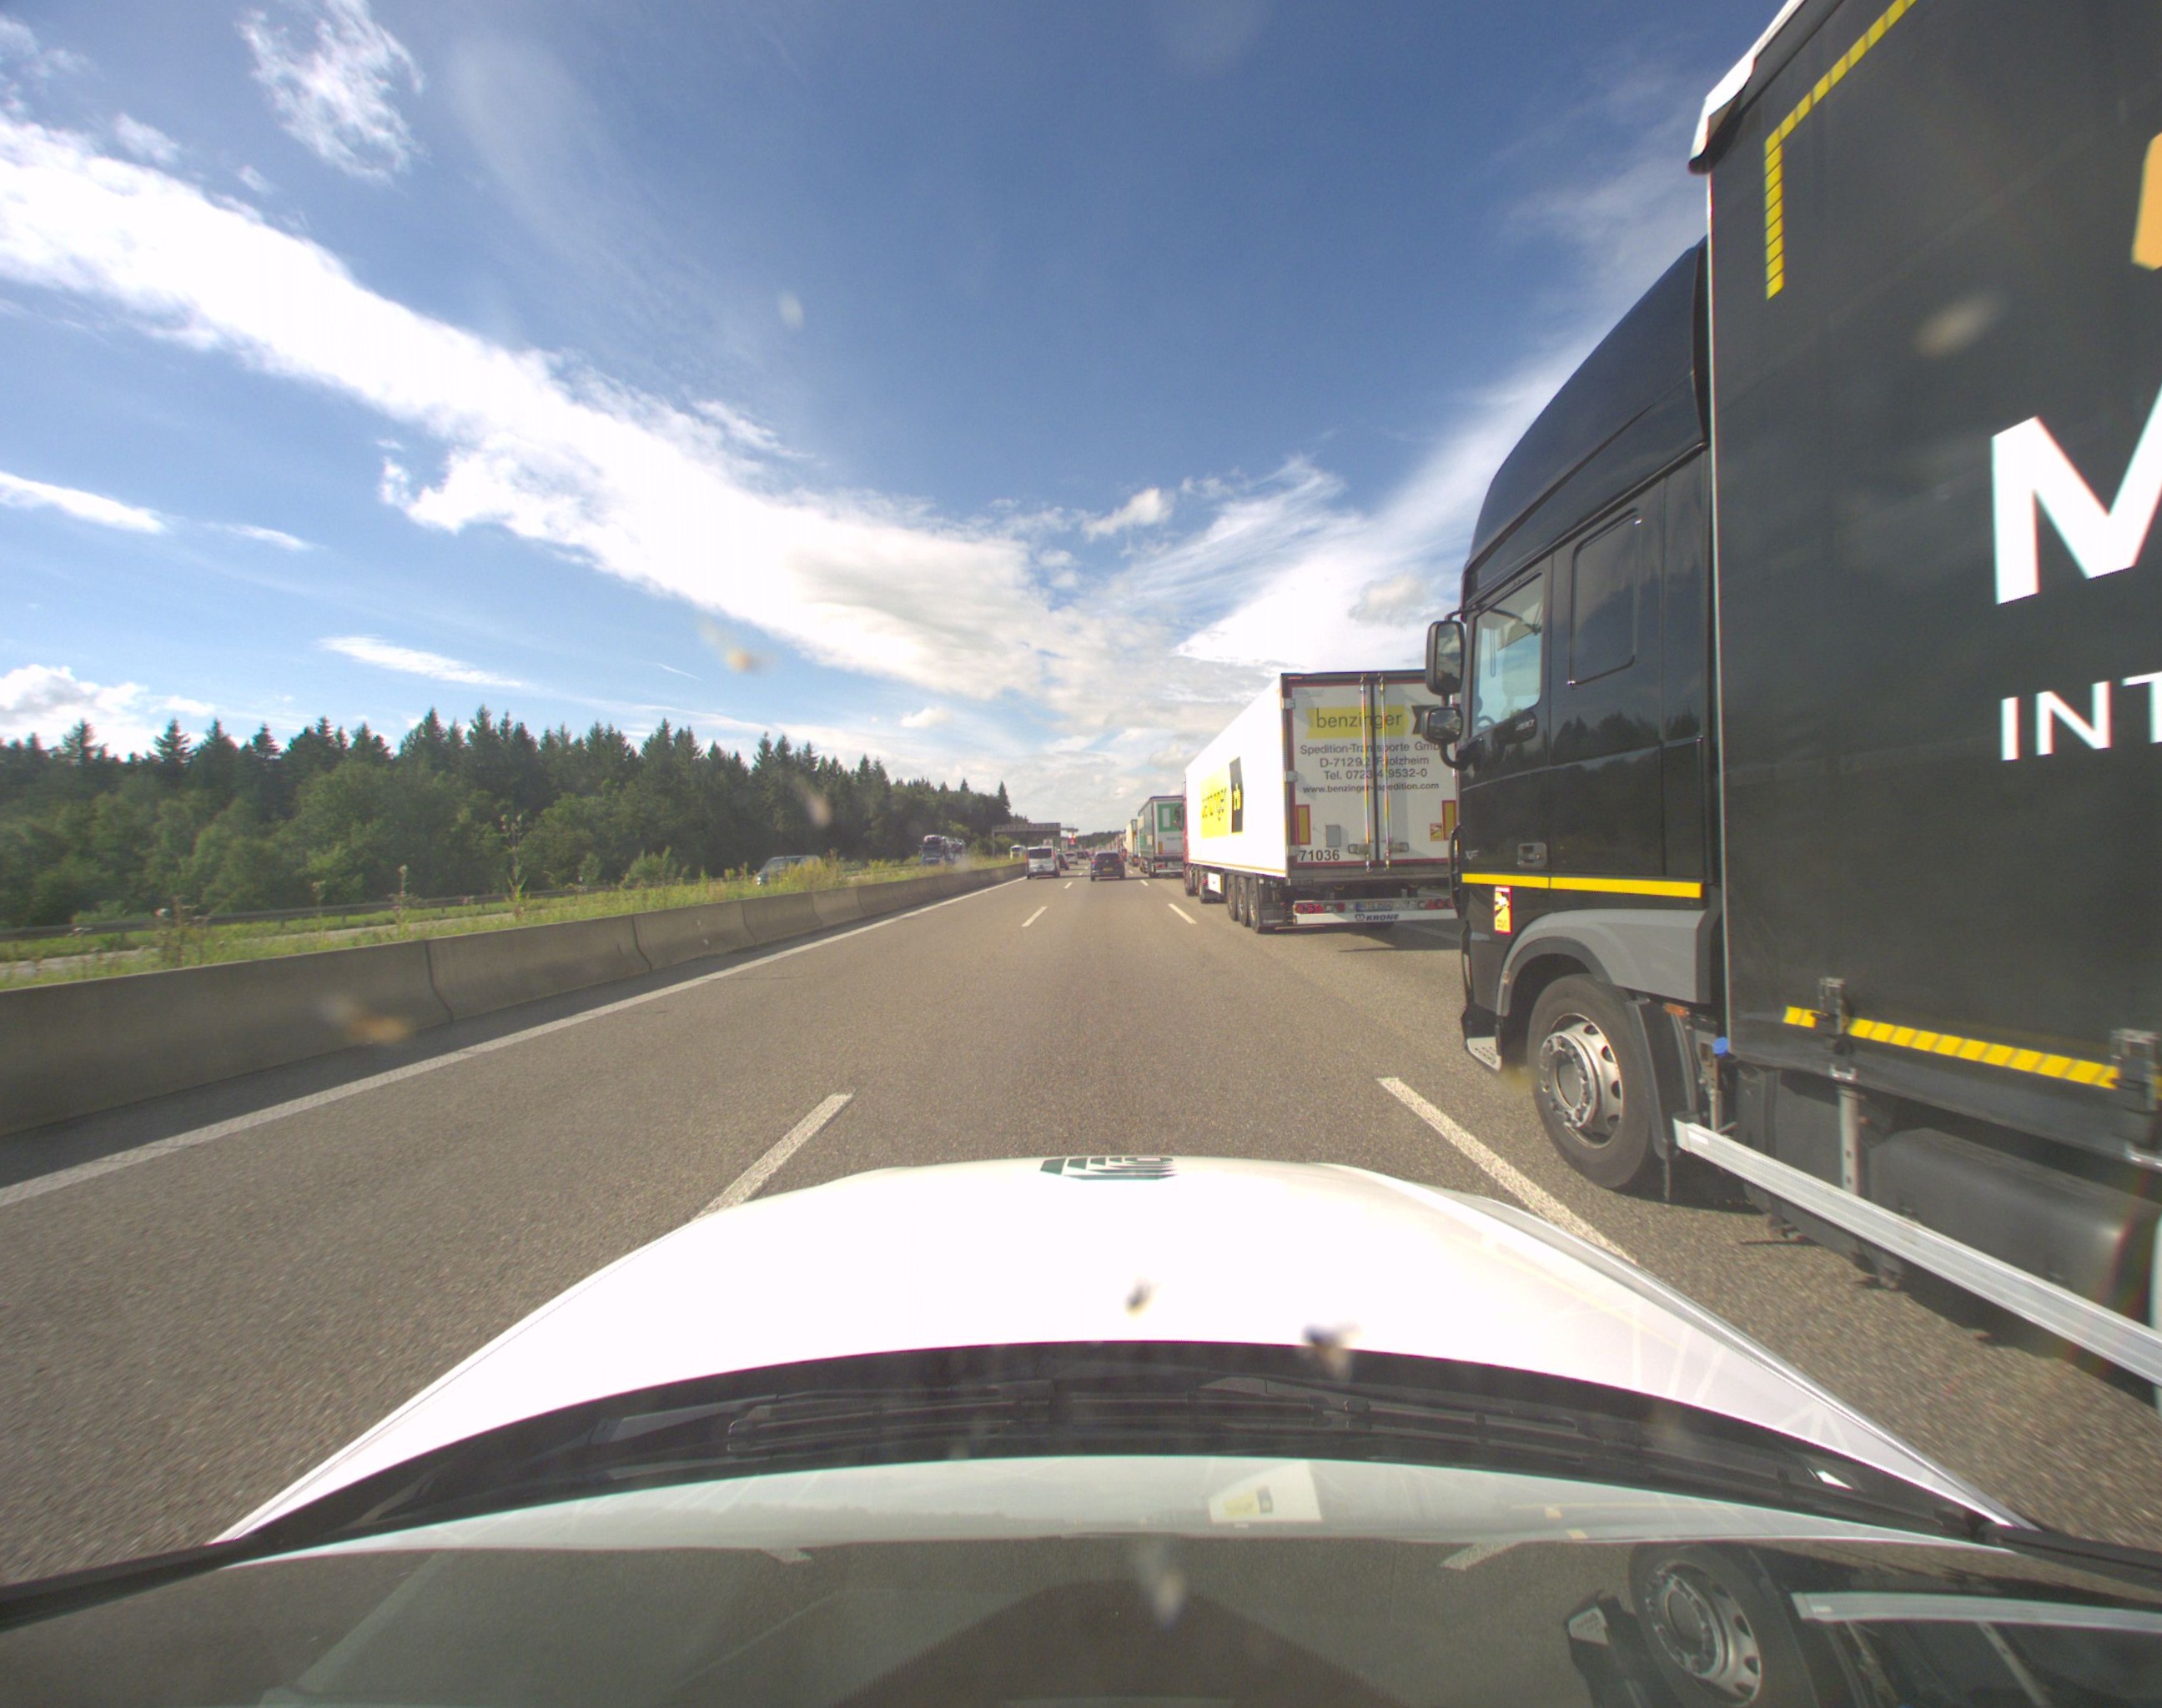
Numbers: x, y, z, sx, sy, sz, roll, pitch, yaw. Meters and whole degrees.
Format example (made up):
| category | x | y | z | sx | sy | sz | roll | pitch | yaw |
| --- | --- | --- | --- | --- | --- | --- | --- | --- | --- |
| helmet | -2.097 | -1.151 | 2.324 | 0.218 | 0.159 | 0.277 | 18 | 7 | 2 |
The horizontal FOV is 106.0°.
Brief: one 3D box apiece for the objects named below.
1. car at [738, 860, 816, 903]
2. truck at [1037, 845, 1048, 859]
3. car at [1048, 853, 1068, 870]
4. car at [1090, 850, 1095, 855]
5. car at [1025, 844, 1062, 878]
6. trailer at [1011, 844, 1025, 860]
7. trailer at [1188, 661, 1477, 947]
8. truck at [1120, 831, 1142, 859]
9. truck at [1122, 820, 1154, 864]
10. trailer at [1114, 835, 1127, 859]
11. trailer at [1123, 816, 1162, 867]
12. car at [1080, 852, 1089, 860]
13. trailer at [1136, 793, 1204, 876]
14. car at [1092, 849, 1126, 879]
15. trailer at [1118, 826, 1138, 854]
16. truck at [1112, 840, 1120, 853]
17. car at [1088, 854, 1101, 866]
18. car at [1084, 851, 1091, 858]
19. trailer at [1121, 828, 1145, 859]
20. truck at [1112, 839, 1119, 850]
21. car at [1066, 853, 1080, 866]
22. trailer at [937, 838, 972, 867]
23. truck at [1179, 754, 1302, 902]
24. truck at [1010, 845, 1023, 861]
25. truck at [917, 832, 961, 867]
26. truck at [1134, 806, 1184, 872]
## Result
| category | x | y | z | sx | sy | sz | roll | pitch | yaw |
| --- | --- | --- | --- | --- | --- | --- | --- | --- | --- |
| car | -14.450 | 1.265 | 39.018 | 1.871 | 1.876 | 4.492 | 1 | 0 | 2 |
| truck | -12.313 | -0.556 | 261.412 | 2.702 | 4.244 | 10.345 | -2 | 0 | 1 |
| car | -1.931 | 0.648 | 69.569 | 1.494 | 1.396 | 3.477 | 1 | 0 | 2 |
| car | 2.992 | -0.279 | 215.309 | 1.356 | 1.301 | 3.085 | 1 | 0 | 1 |
| car | -2.300 | 0.424 | 51.500 | 1.926 | 1.979 | 5.100 | 1 | 0 | 2 |
| trailer | -14.103 | -0.467 | 183.358 | 2.314 | 3.284 | 10.873 | -2 | 0 | 0 |
| trailer | 4.358 | -0.689 | 17.912 | 2.781 | 3.939 | 13.077 | -1 | 0 | 2 |
| truck | 6.666 | -1.160 | 108.862 | 2.524 | 3.584 | 6.732 | -2 | 0 | 2 |
| truck | 5.619 | -1.161 | 80.791 | 2.698 | 4.059 | 6.364 | -3 | 0 | 2 |
| trailer | 7.337 | -1.323 | 152.034 | 2.141 | 4.259 | 8.445 | -2 | 0 | 2 |
| trailer | 5.398 | -1.087 | 73.294 | 2.693 | 4.081 | 12.950 | -3 | 0 | 2 |
| car | 0.615 | 0.302 | 139.601 | 1.429 | 1.310 | 3.534 | 1 | 0 | 1 |
| trailer | 4.711 | -0.928 | 45.736 | 2.651 | 3.868 | 13.400 | -2 | 0 | 2 |
| car | 1.471 | 0.490 | 43.135 | 1.690 | 1.483 | 4.161 | 1 | 0 | 2 |
| trailer | 7.449 | -2.113 | 129.242 | 2.791 | 4.244 | 11.063 | -3 | 0 | 2 |
| truck | 8.614 | -1.841 | 199.014 | 1.986 | 2.932 | 4.984 | 1 | 0 | 2 |
| car | 1.707 | 0.747 | 103.935 | 1.575 | 1.396 | 3.208 | 1 | 0 | 1 |
| car | 1.277 | 0.053 | 160.120 | 1.429 | 1.310 | 3.534 | 1 | 0 | 1 |
| trailer | 6.474 | -1.257 | 102.626 | 2.531 | 3.653 | 10.631 | -2 | 0 | 2 |
| truck | 9.516 | -2.596 | 226.320 | 1.986 | 3.052 | 4.984 | 1 | 0 | 2 |
| car | -0.930 | 0.589 | 93.449 | 1.494 | 1.396 | 3.477 | 1 | 0 | 2 |
| trailer | -16.313 | -0.163 | 105.628 | 2.789 | 3.528 | 8.955 | -2 | 0 | 1 |
| truck | 4.659 | -0.698 | 24.950 | 2.791 | 3.939 | 5.829 | -1 | 0 | 2 |
| truck | -14.078 | -0.241 | 177.914 | 2.311 | 3.273 | 6.102 | -2 | 0 | -1 |
| truck | -16.517 | -0.494 | 95.576 | 2.821 | 3.689 | 11.135 | -2 | 0 | 1 |
| truck | 4.937 | -0.899 | 52.642 | 2.637 | 3.869 | 6.999 | -2 | 0 | 2 |
